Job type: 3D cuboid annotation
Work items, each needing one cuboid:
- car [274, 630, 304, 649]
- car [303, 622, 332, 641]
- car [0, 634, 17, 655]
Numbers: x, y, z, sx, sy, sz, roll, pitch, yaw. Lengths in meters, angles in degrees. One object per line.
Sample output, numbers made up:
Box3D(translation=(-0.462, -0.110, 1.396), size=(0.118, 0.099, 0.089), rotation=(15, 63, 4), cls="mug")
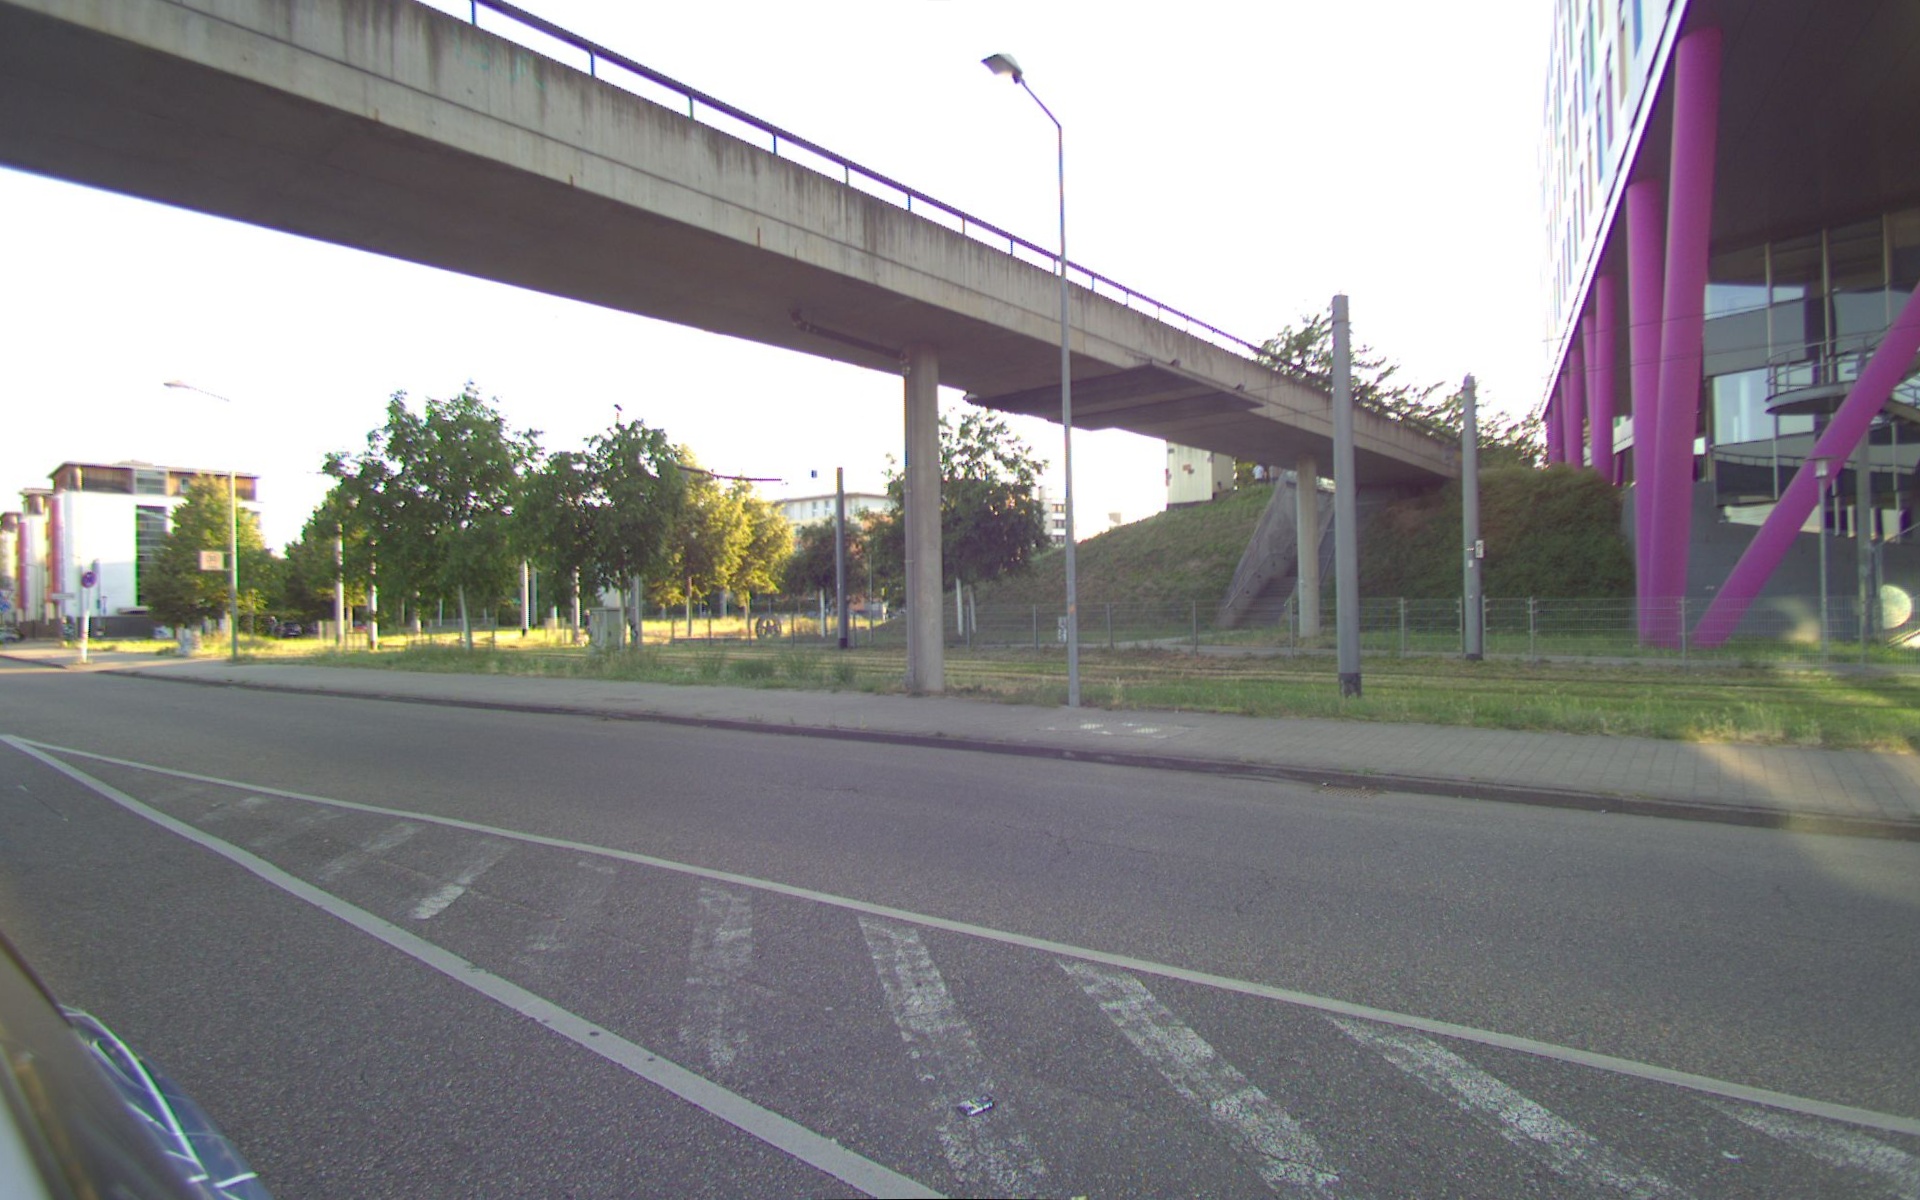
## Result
Box3D(translation=(-56.878, 3.333, 85.745), size=(1.913, 1.541, 4.009), rotation=(-1, -1, -36), cls="car")
Box3D(translation=(-55.279, 2.729, 87.066), size=(1.913, 1.541, 4.009), rotation=(-1, -1, -36), cls="car")
Box3D(translation=(-80.600, 3.721, 83.461), size=(2.000, 1.741, 3.944), rotation=(-2, -1, 42), cls="car")
